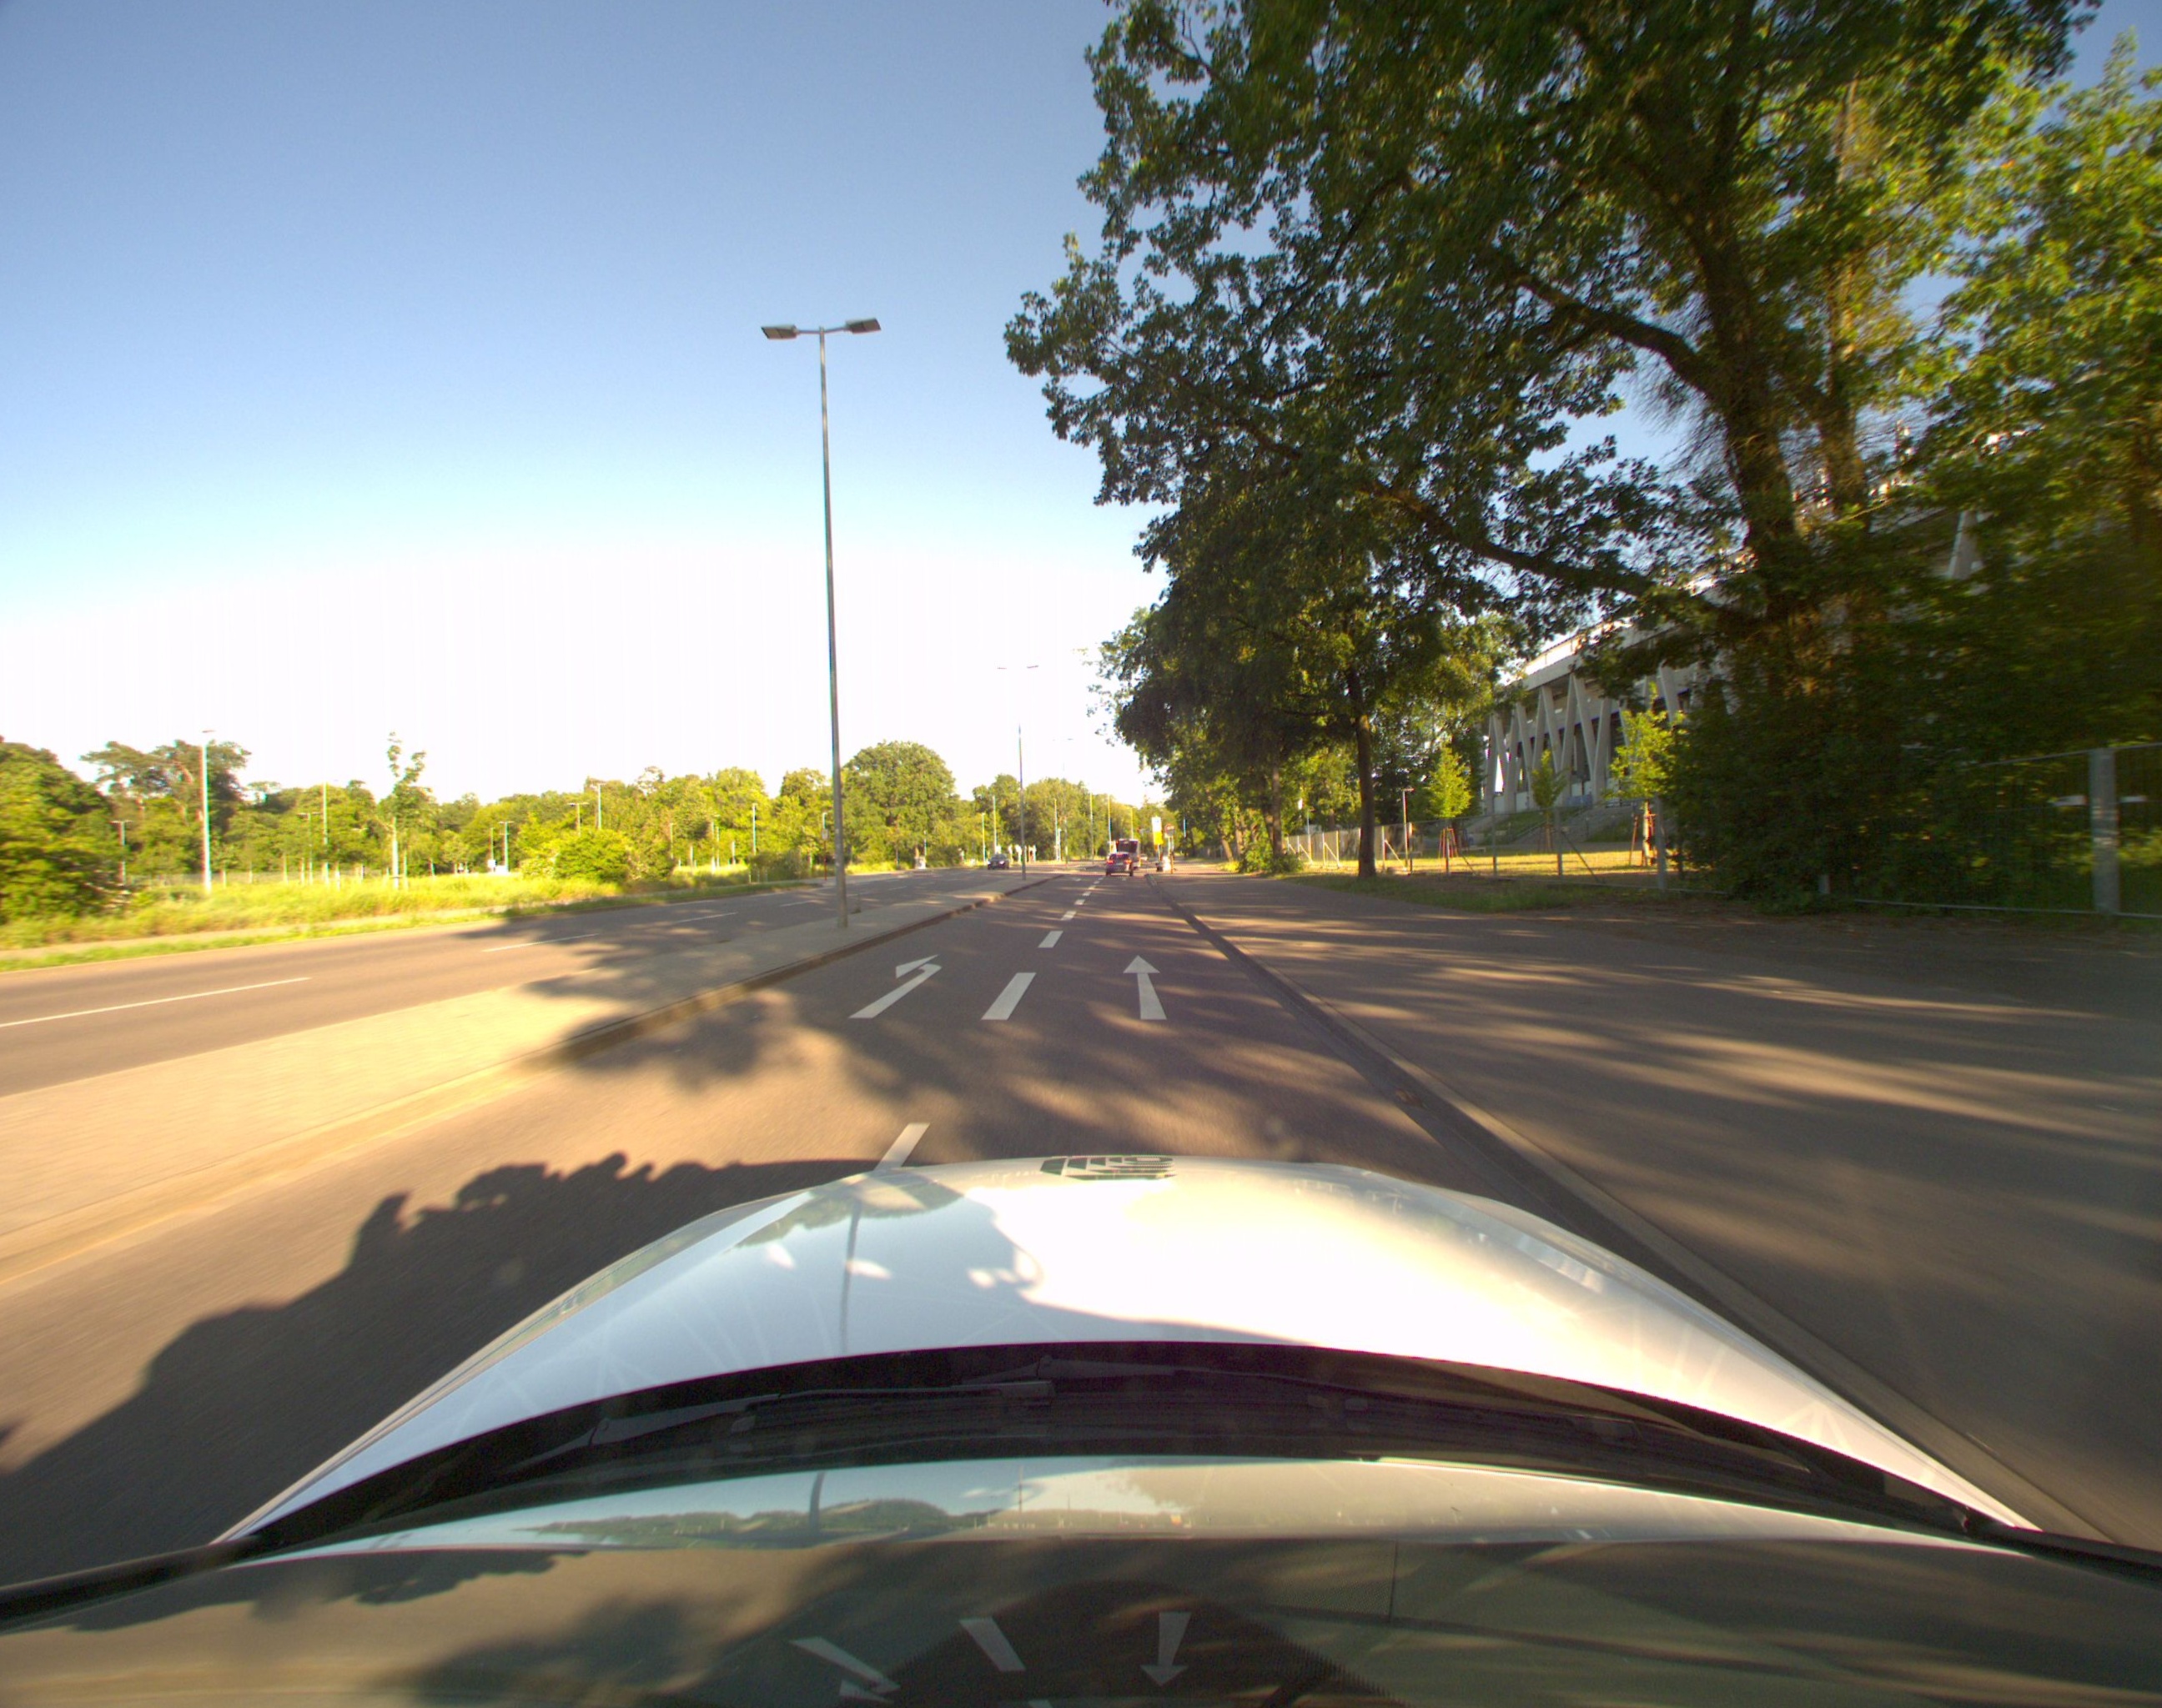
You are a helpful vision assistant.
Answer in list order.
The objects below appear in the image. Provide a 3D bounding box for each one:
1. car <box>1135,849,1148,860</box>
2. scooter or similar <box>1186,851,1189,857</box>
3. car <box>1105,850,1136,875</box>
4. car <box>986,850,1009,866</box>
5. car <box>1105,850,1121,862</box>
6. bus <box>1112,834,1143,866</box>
[{"bbox_3d":[9.686,0.131,129.513,1.901,1.728,4.586,0,0,6],"label":"car"},{"bbox_3d":[24.148,-0.047,184.650,0.506,1.444,2.023,-2,0,1],"label":"scooter or similar"},{"bbox_3d":[2.717,0.530,55.925,1.889,1.632,4.007,0,0,6],"label":"car"},{"bbox_3d":[-8.897,0.401,87.277,1.776,1.692,4.705,0,1,2],"label":"car"},{"bbox_3d":[4.265,0.245,107.793,1.827,1.518,4.007,-1,0,6],"label":"car"},{"bbox_3d":[4.691,-0.337,81.142,2.581,2.989,9.342,0,0,6],"label":"bus"}]
